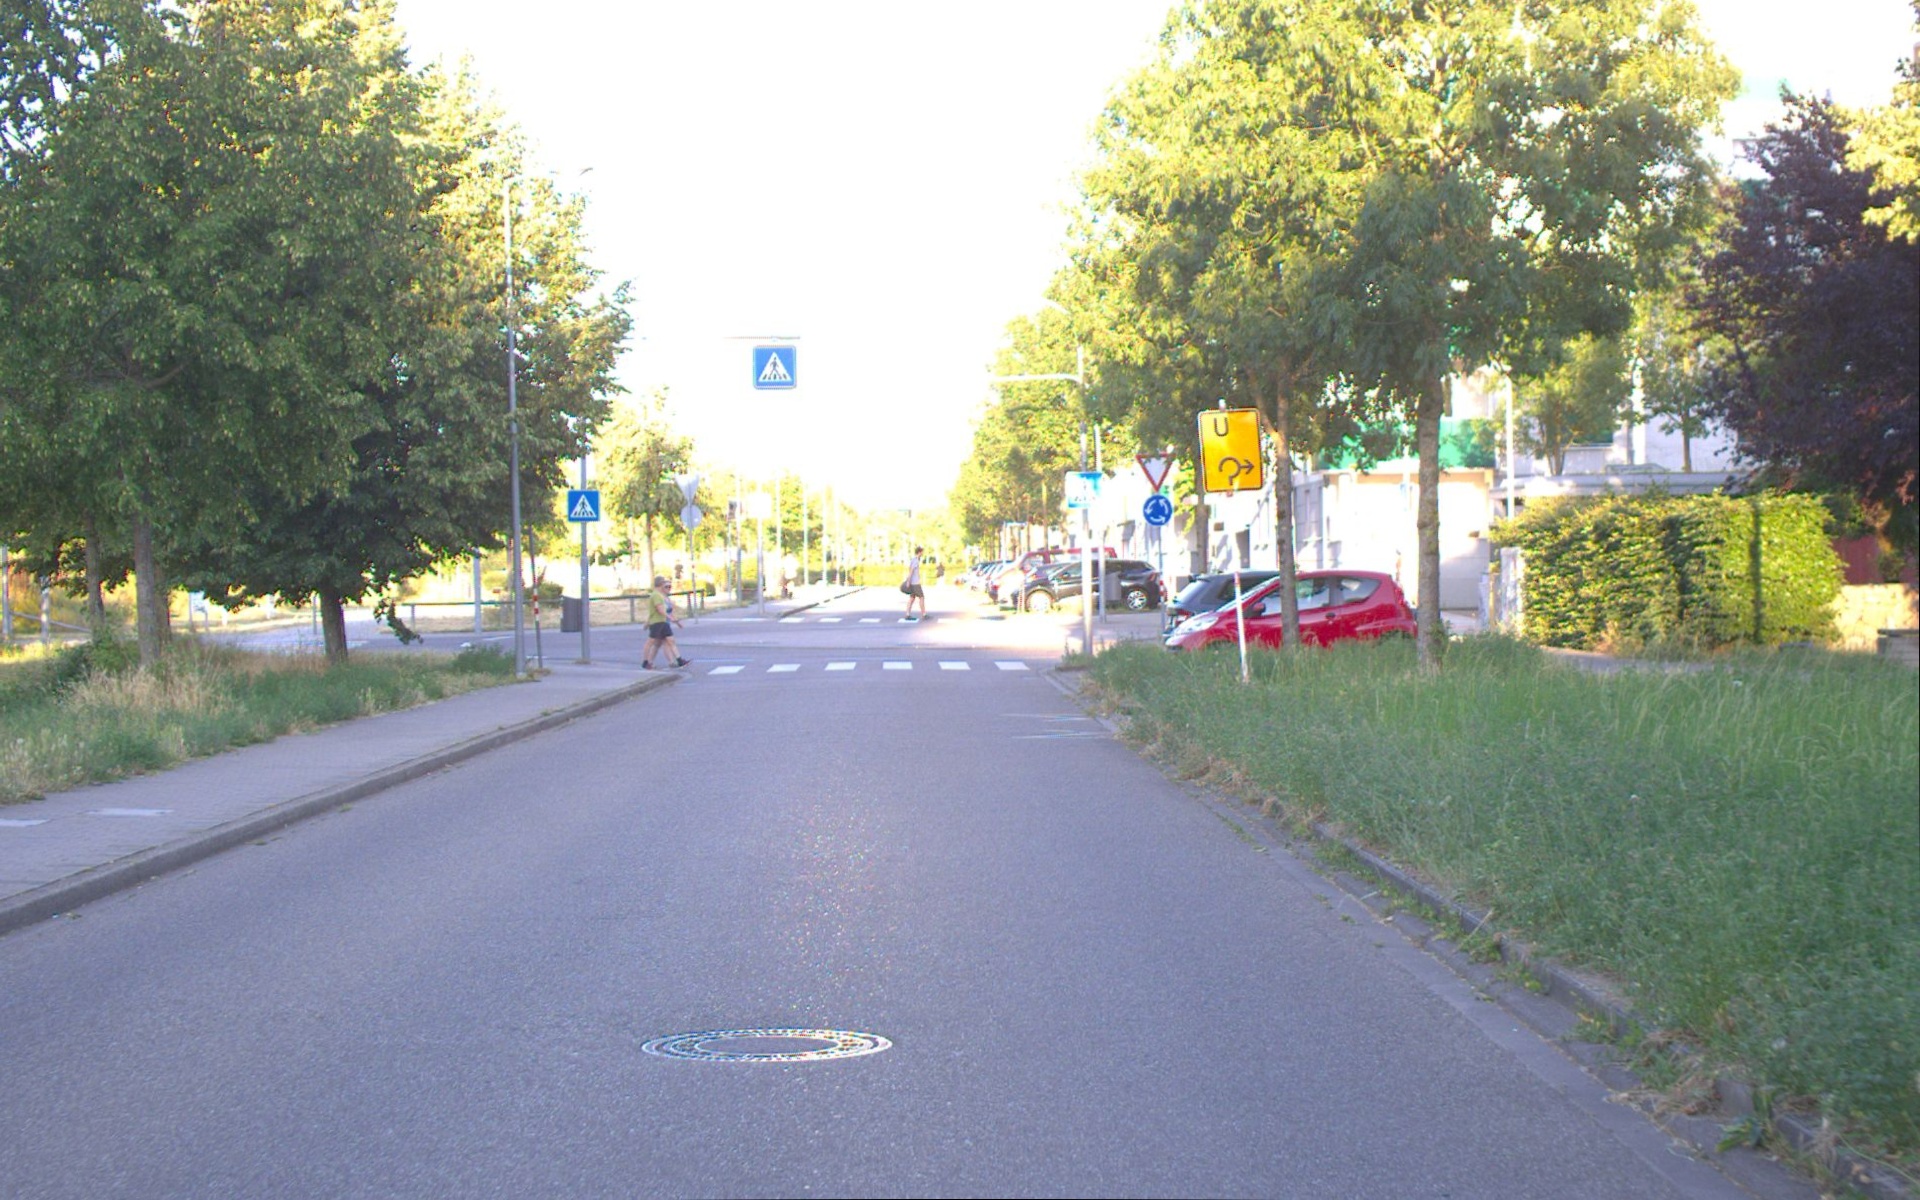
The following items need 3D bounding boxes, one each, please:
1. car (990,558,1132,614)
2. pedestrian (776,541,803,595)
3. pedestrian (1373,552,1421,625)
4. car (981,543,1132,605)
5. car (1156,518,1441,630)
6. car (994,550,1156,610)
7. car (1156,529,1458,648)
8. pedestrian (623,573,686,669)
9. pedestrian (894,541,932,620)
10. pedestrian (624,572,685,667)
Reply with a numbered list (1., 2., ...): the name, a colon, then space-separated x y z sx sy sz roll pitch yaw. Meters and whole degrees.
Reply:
1. car: 3.052 -0.435 104.418 4.263 1.590 2.000 -1 1 1
2. pedestrian: -6.342 -1.187 128.102 0.866 2.007 0.790 -1 0 -11
3. pedestrian: 10.777 -0.284 84.717 1.003 1.782 0.762 0 0 -7
4. car: 3.326 -0.905 119.704 5.002 2.038 2.251 -1 1 -5
5. car: 4.763 -0.373 48.720 3.802 1.503 1.679 -1 1 -2
6. car: 3.211 -0.565 96.471 4.484 1.590 2.000 -1 1 1
7. car: 4.624 -0.158 46.080 3.802 1.503 1.679 -1 1 -2
8. pedestrian: -5.484 0.365 61.685 1.018 1.687 0.760 -1 0 -11
9. pedestrian: -1.213 -0.511 89.082 0.846 2.007 0.943 -1 0 5
10. pedestrian: -5.546 0.349 62.395 0.983 1.687 0.700 -1 0 -12
